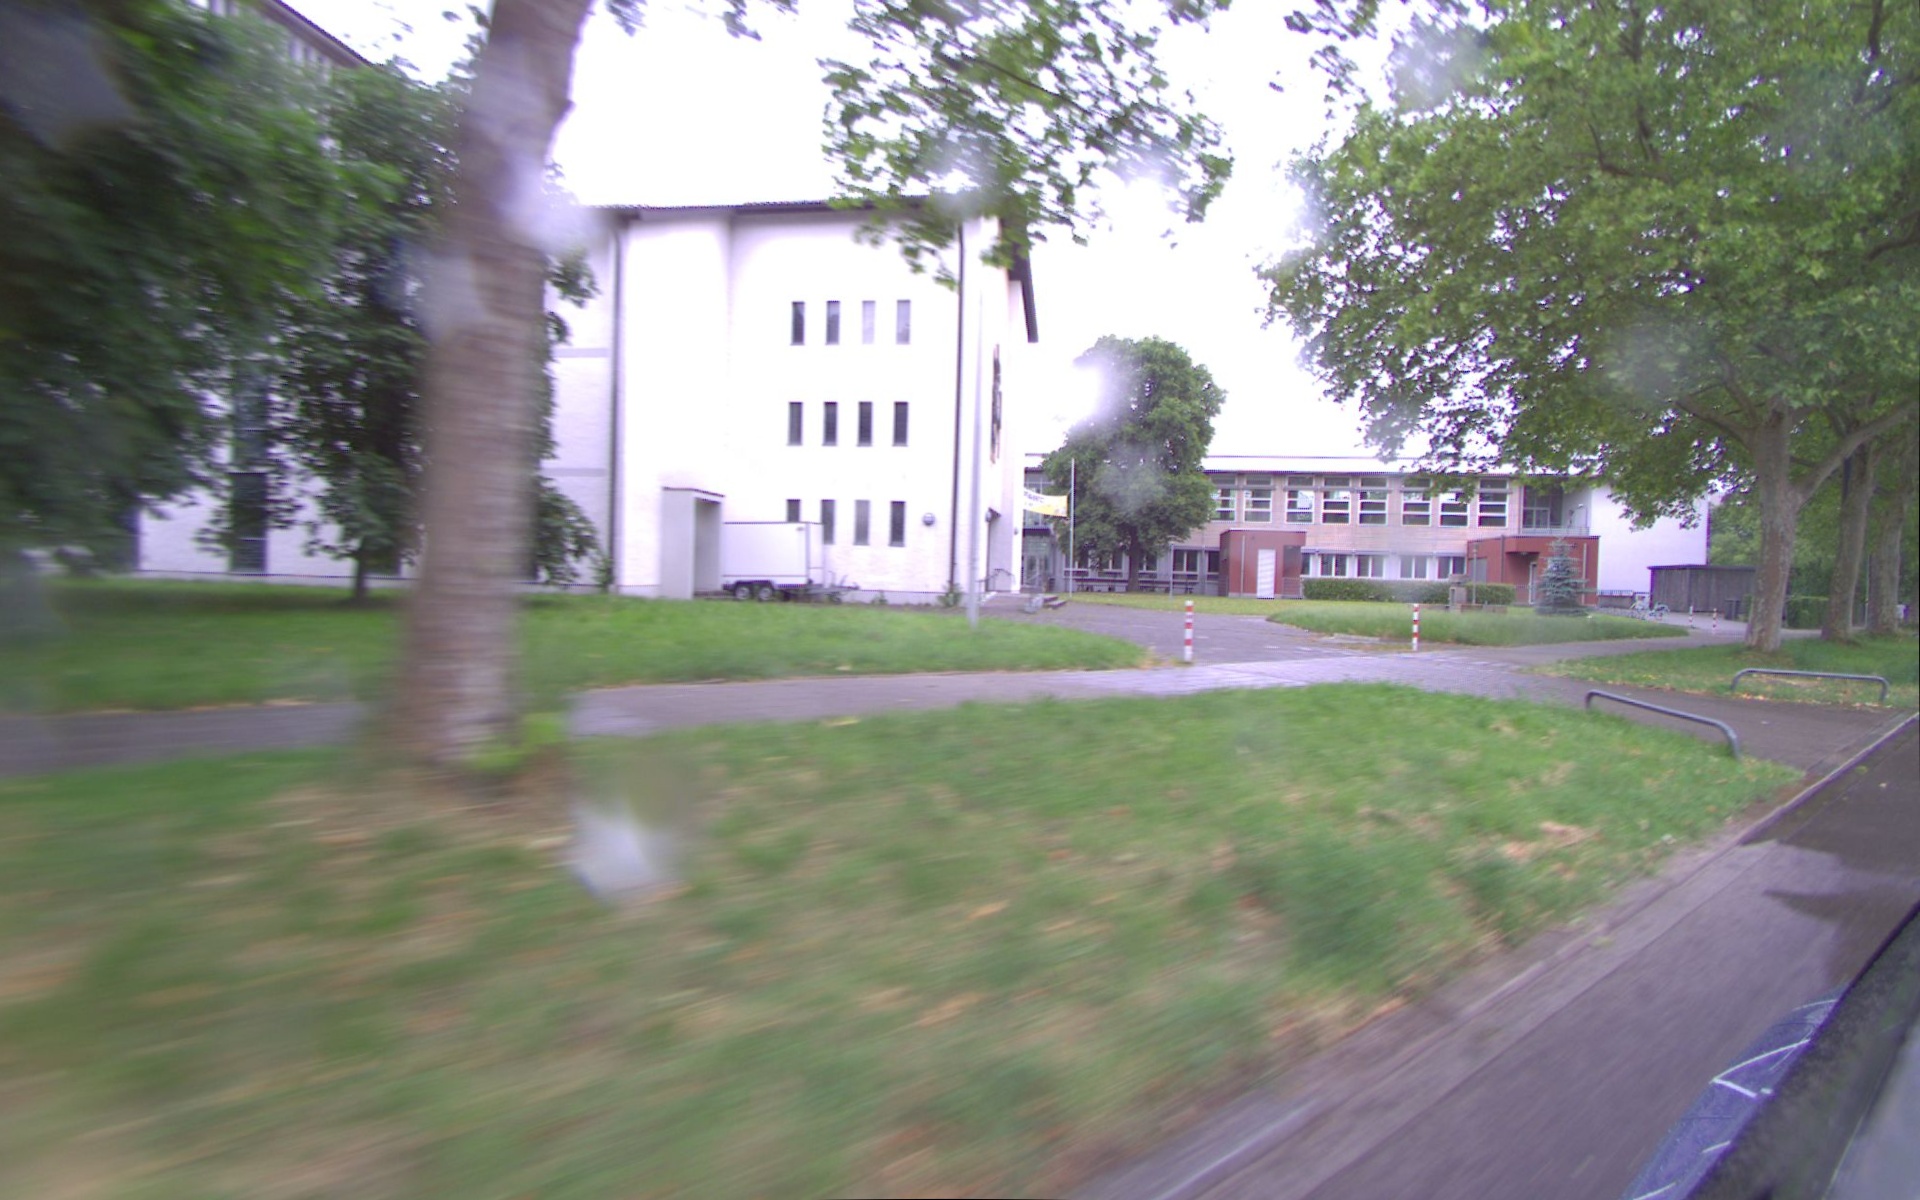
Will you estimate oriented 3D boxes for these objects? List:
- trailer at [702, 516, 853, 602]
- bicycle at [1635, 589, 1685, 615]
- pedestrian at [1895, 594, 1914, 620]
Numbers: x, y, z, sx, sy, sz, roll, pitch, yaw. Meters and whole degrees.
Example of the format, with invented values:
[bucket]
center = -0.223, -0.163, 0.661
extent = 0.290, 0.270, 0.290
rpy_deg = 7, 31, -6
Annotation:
[trailer]
center = -5.337, -1.208, 29.871
extent = 3.955, 2.337, 1.887
rpy_deg = 2, 1, 10
[bicycle]
center = 33.529, 0.084, 48.491
extent = 1.902, 1.135, 0.521
rpy_deg = 2, 3, 2
[pedestrian]
center = 59.422, 0.424, 63.684
extent = 0.575, 1.557, 0.747
rpy_deg = 1, 2, -41
